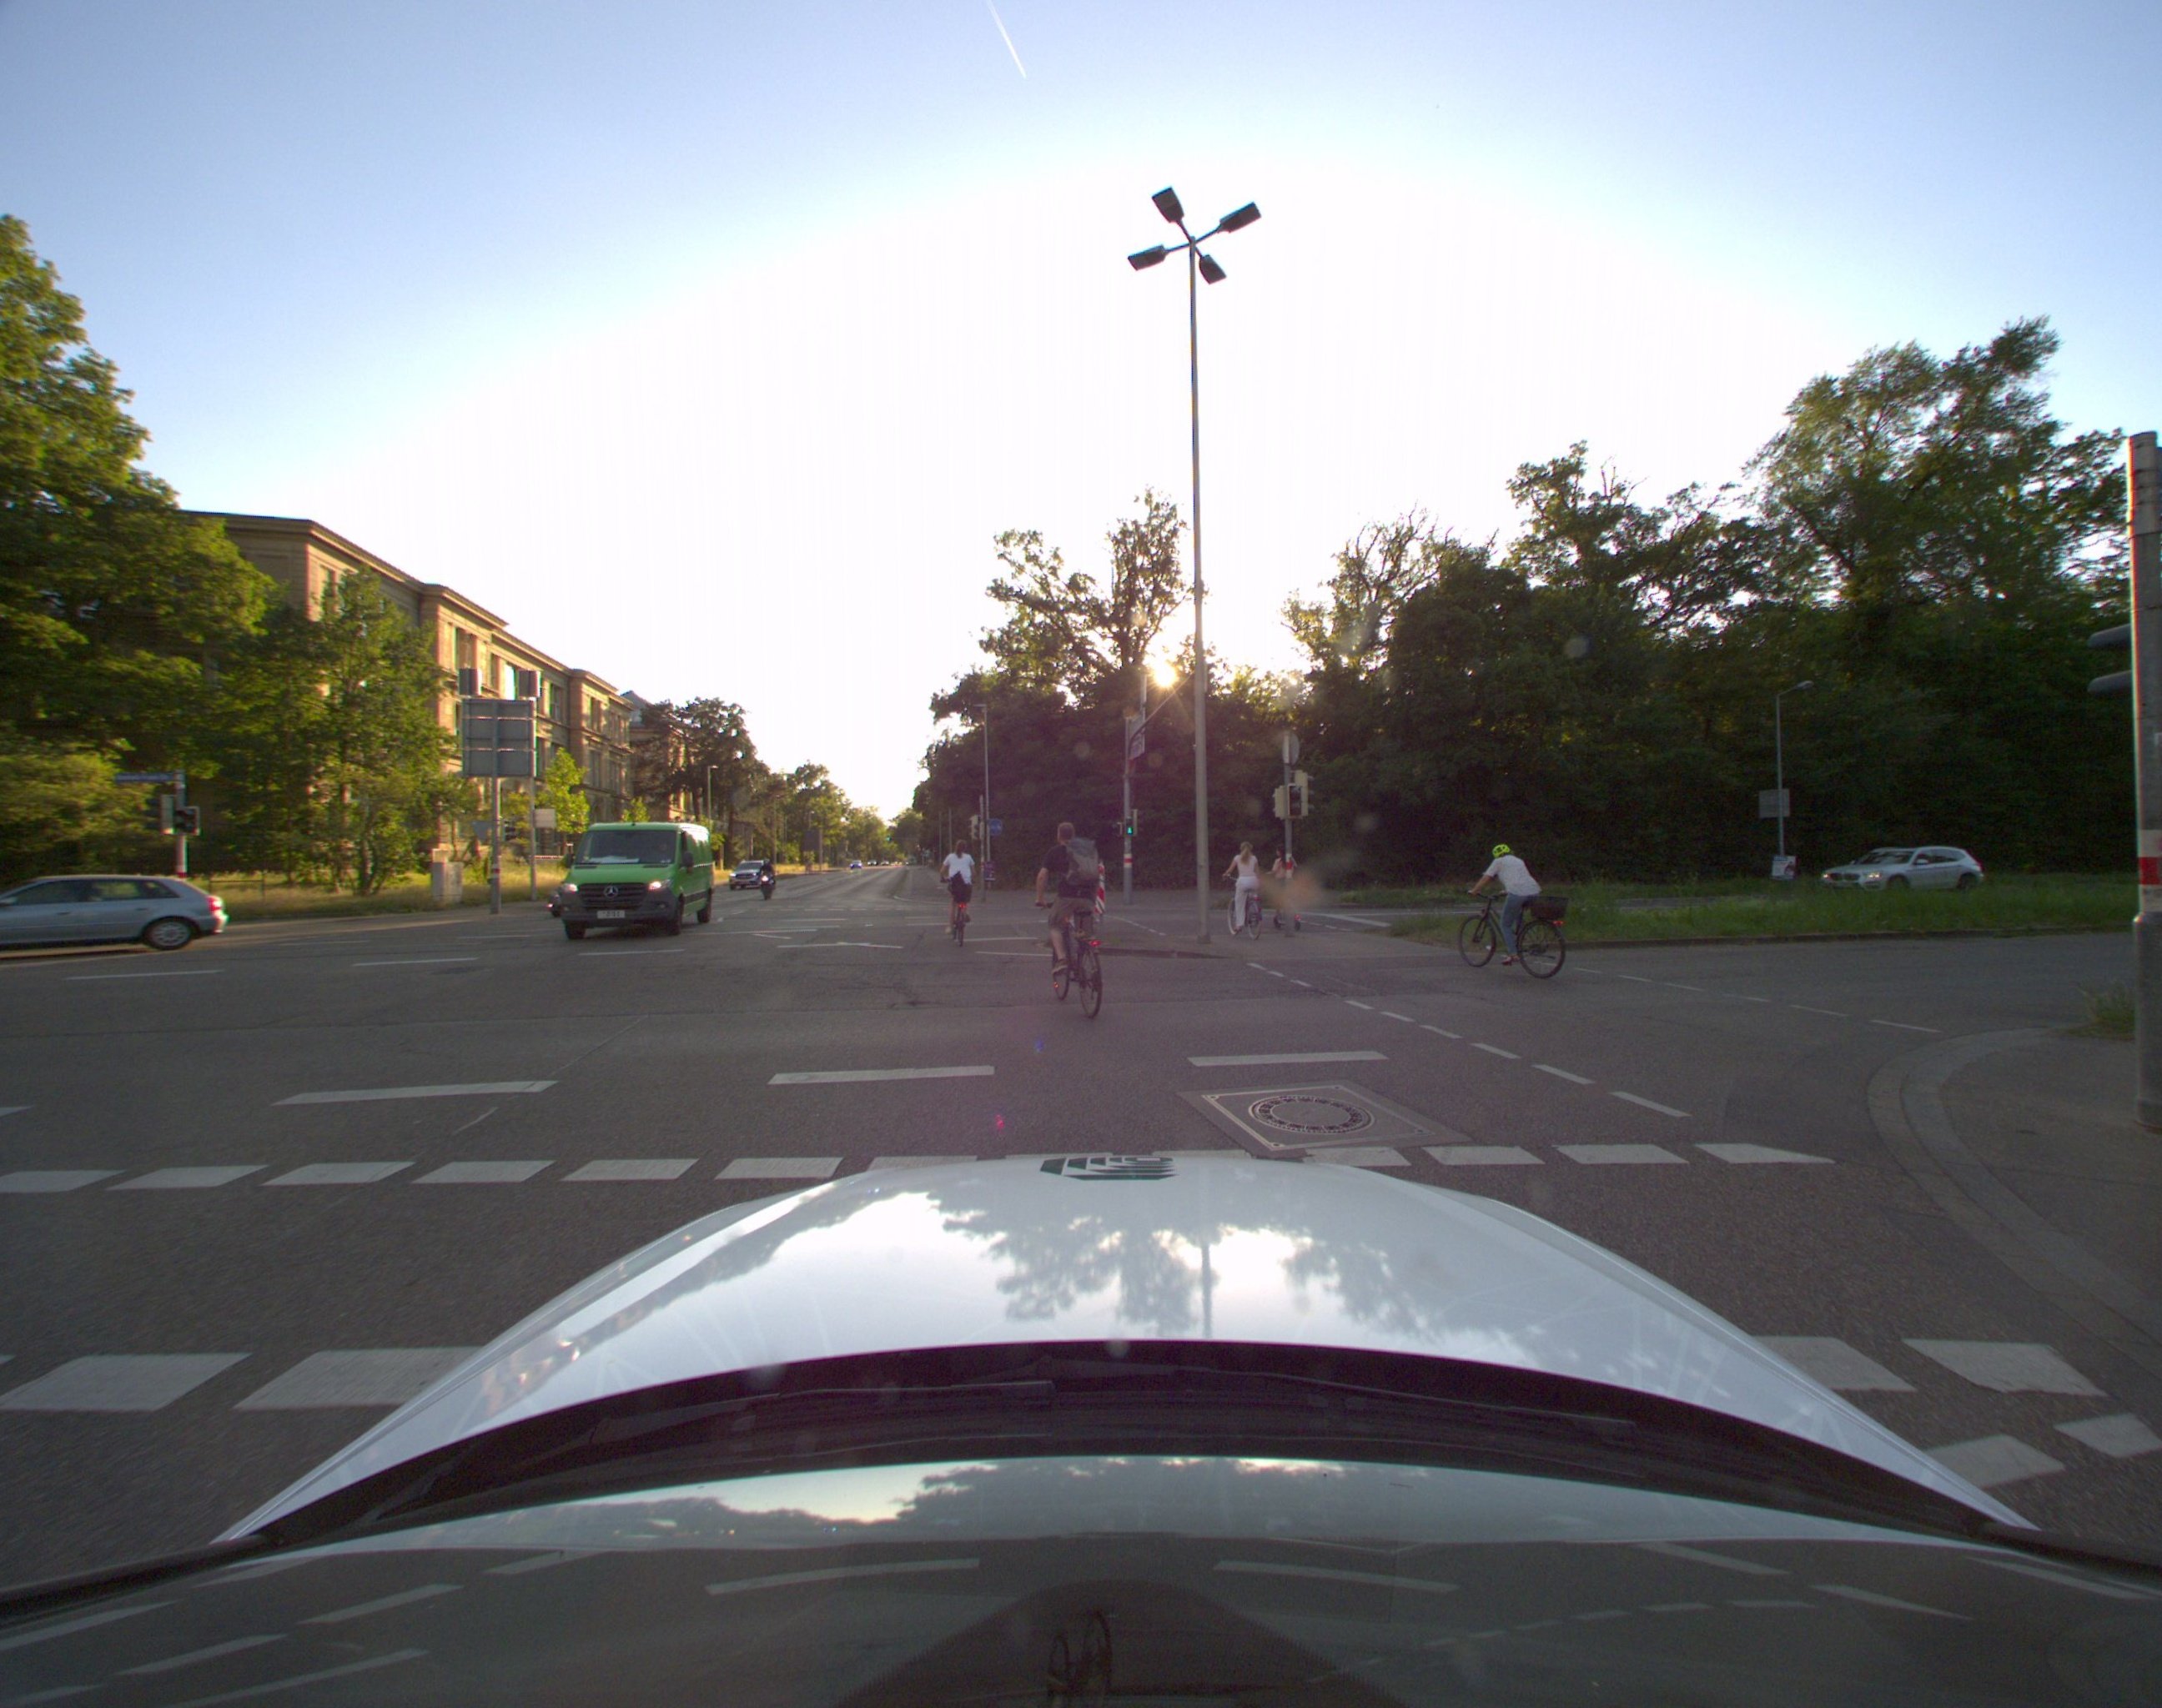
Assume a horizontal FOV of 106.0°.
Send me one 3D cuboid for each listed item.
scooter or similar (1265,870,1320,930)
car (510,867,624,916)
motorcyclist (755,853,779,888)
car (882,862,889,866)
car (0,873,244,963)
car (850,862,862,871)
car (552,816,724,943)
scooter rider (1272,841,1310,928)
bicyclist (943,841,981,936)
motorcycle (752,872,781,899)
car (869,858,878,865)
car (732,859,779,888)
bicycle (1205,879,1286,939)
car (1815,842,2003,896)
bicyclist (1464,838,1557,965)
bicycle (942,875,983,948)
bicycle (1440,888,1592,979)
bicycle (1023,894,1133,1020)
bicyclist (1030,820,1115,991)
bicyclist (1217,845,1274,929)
[{"bbox_3d":[4.378,0.924,16.936,0.562,1.189,1.417,0,-1,-10],"label":"scooter or similar"},{"bbox_3d":[-15.766,1.103,25.201,1.765,1.328,3.629,-1,0,-11],"label":"car"},{"bbox_3d":[-12.562,0.669,32.594,0.750,1.358,0.701,-1,-1,-12],"label":"motorcyclist"},{"bbox_3d":[-56.861,2.840,237.369,1.996,1.266,3.982,-1,0,-13],"label":"car"},{"bbox_3d":[-18.038,1.091,14.476,1.713,1.409,4.166,-1,0,35],"label":"car"},{"bbox_3d":[-37.949,2.040,137.478,1.773,1.474,3.756,-1,0,-15],"label":"car"},{"bbox_3d":[-9.334,0.477,17.761,2.043,2.278,5.907,-1,0,-16],"label":"car"},{"bbox_3d":[4.368,0.623,16.966,0.565,1.767,0.503,-1,-1,-10],"label":"scooter rider"},{"bbox_3d":[-2.079,0.577,14.134,0.604,1.586,0.906,0,-1,-11],"label":"bicyclist"},{"bbox_3d":[-12.551,1.245,32.581,0.754,1.001,1.872,-1,0,-11],"label":"motorcycle"},{"bbox_3d":[-46.835,1.720,184.024,1.997,1.640,3.980,-1,0,-14],"label":"car"},{"bbox_3d":[-19.410,1.149,48.729,1.765,1.635,4.496,-1,0,-11],"label":"car"},{"bbox_3d":[3.030,0.991,15.224,0.771,1.007,2.008,0,-1,-11],"label":"bicycle"},{"bbox_3d":[26.498,0.491,26.121,4.624,1.614,1.822,-1,-3,-9],"label":"car"},{"bbox_3d":[5.572,0.589,10.597,0.556,1.569,0.892,-1,-1,-22],"label":"bicyclist"},{"bbox_3d":[-2.074,0.944,14.101,0.613,1.138,1.877,0,0,-11],"label":"bicycle"},{"bbox_3d":[5.579,0.977,10.579,0.566,1.014,1.789,-1,-1,-22],"label":"bicycle"},{"bbox_3d":[-0.086,0.983,8.354,0.700,1.063,1.816,0,-1,-15],"label":"bicycle"},{"bbox_3d":[-0.100,0.504,8.413,0.700,1.667,0.794,1,-1,-15],"label":"bicyclist"},{"bbox_3d":[3.044,0.595,15.135,0.760,1.518,0.853,0,-1,-11],"label":"bicyclist"}]
